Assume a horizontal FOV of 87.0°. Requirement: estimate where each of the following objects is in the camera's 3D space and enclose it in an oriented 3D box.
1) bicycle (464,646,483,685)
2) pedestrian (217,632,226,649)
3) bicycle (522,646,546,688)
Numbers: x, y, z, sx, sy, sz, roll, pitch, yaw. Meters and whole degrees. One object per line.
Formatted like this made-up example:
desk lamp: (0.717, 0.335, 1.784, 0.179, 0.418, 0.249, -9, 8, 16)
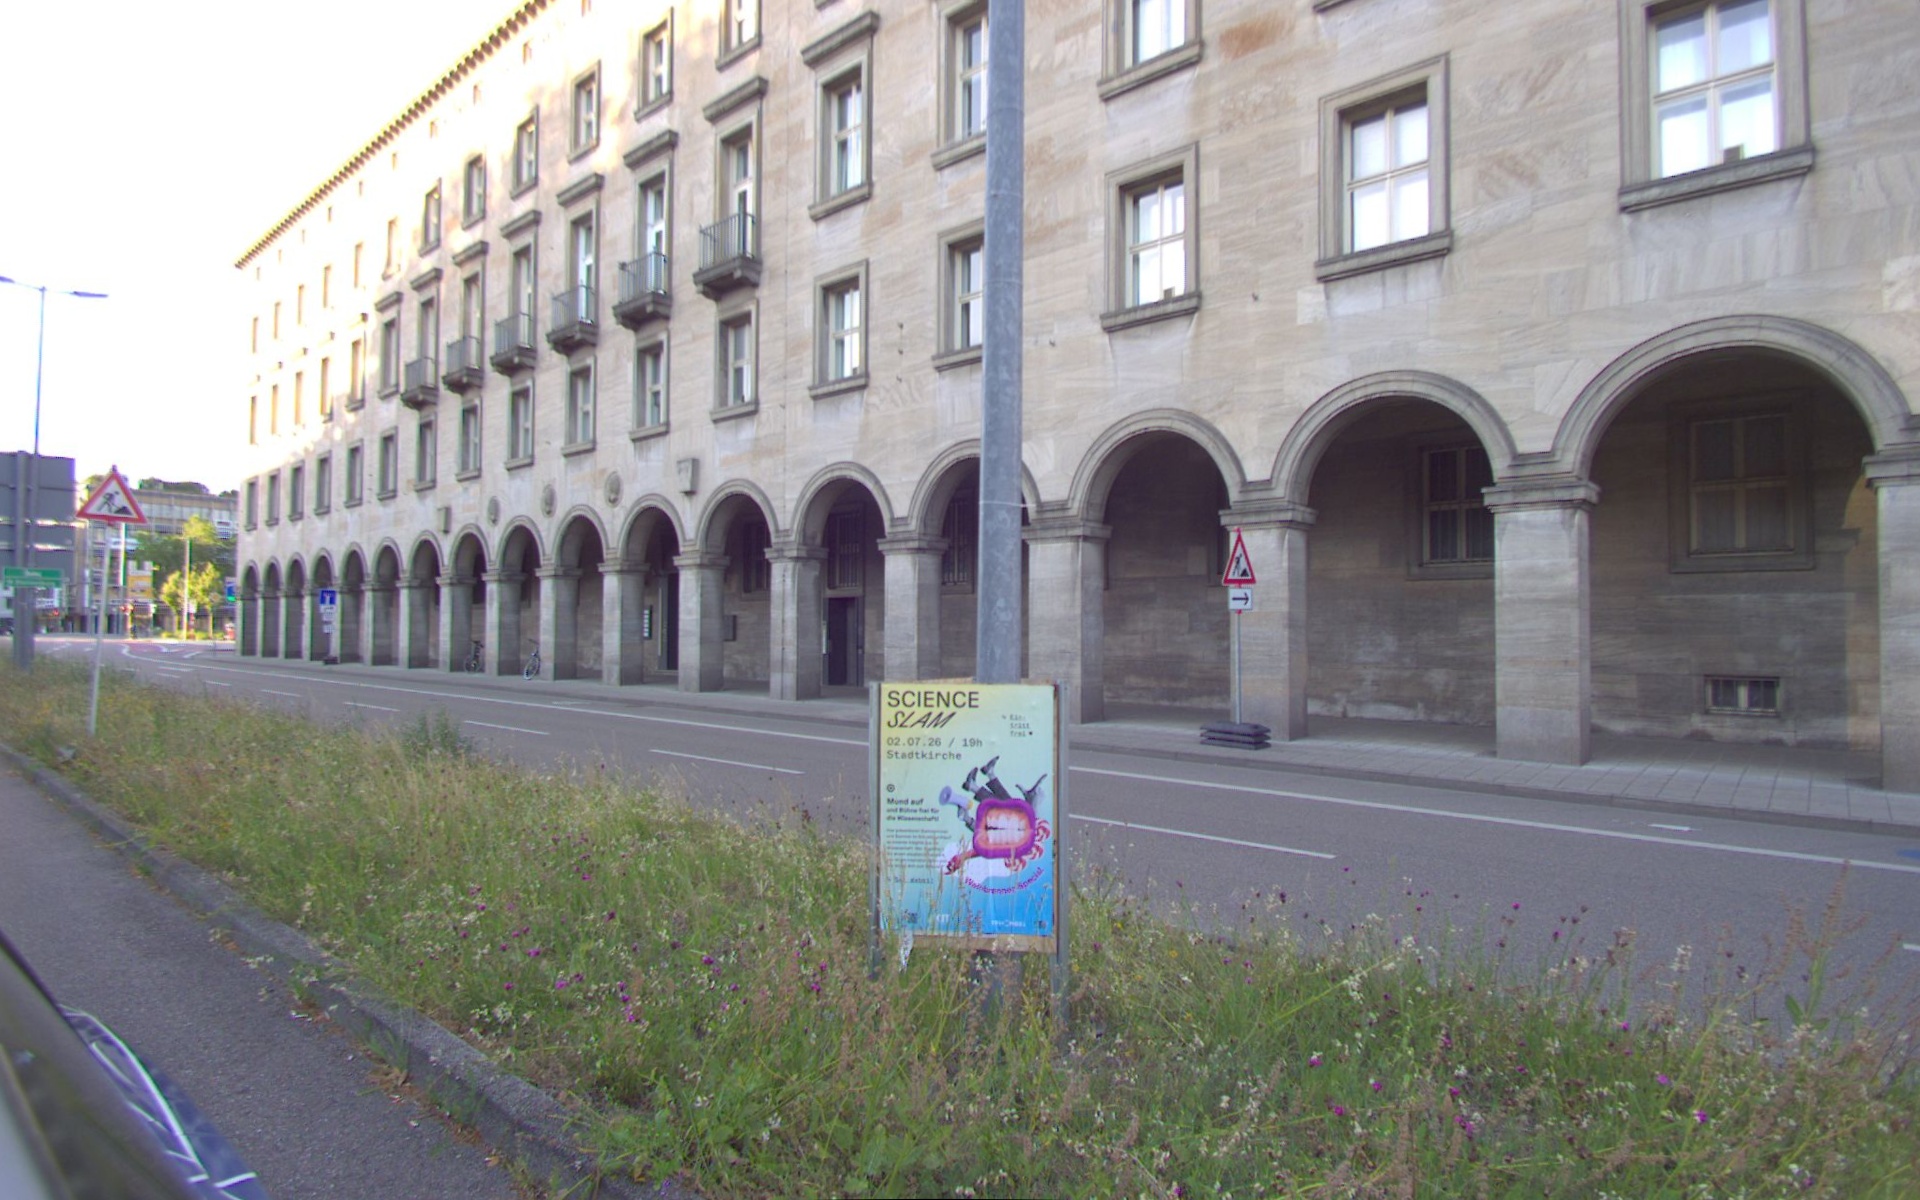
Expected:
bicycle: (-15.482, 2.060, 32.222, 0.505, 1.188, 2.431, 1, -2, -25)
pedestrian: (-67.790, 3.758, 92.870, 0.389, 1.553, 0.519, -2, -3, 41)
bicycle: (-12.710, 1.981, 30.227, 0.505, 1.130, 2.431, 1, -1, -20)
